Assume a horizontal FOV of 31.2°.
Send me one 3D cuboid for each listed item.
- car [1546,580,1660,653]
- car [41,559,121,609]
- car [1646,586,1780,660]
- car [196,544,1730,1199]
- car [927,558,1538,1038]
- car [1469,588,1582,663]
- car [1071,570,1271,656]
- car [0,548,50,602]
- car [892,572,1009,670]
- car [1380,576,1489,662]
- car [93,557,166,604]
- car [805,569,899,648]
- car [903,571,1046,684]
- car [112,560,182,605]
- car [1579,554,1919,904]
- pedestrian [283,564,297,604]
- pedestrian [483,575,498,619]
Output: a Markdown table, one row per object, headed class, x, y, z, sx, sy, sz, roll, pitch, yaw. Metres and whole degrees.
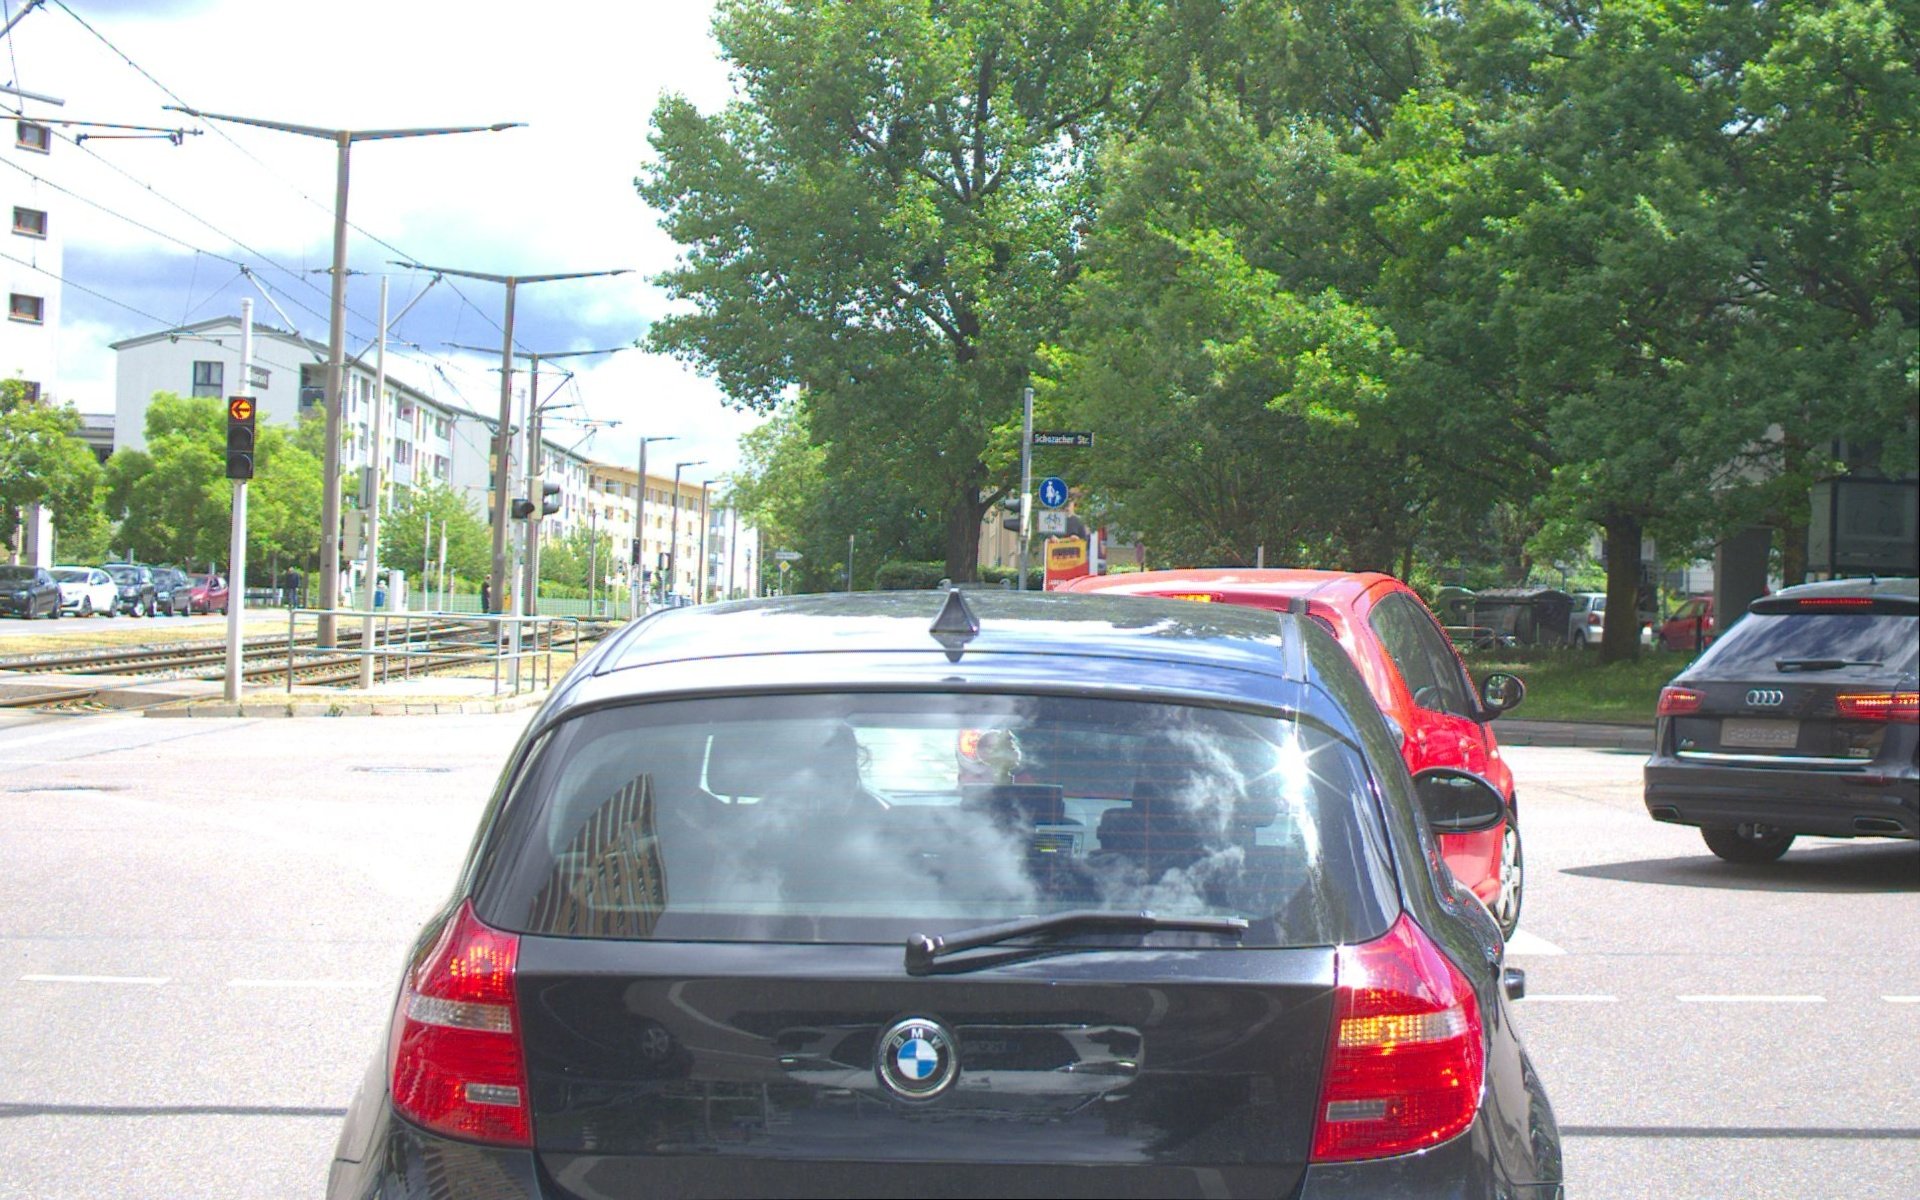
| class | x | y | z | sx | sy | sz | roll | pitch | yaw |
| --- | --- | --- | --- | --- | --- | --- | --- | --- | --- |
| car | 14.743 | 0.357 | 78.970 | 1.630 | 1.589 | 4.001 | 1 | 1 | -3 |
| car | -25.797 | -0.472 | 101.022 | 1.760 | 1.390 | 4.001 | 1 | 1 | -7 |
| car | 17.344 | 0.504 | 79.372 | 1.730 | 1.589 | 4.001 | 1 | 1 | -8 |
| car | -0.020 | 0.664 | 5.966 | 1.752 | 1.482 | 4.000 | 1 | 1 | 0 |
| car | 1.089 | 0.586 | 12.252 | 1.543 | 1.436 | 3.193 | 1 | 1 | 16 |
| car | 12.747 | 0.554 | 77.681 | 1.630 | 1.567 | 4.033 | 1 | 1 | -3 |
| car | 4.641 | 0.284 | 75.726 | 3.986 | 1.817 | 1.779 | 1 | 1 | -22 |
| car | -25.944 | -0.699 | 93.476 | 1.760 | 1.390 | 4.001 | 1 | 1 | -7 |
| car | -0.179 | 0.372 | 61.669 | 1.993 | 1.678 | 4.000 | 1 | 0 | 0 |
| car | 10.543 | 0.401 | 76.631 | 1.630 | 1.804 | 4.033 | 1 | 1 | -3 |
| car | -25.976 | -0.627 | 107.599 | 1.760 | 1.390 | 4.001 | 1 | 1 | -7 |
| car | -2.393 | 0.167 | 77.100 | 1.993 | 1.678 | 4.000 | 1 | 1 | 0 |
| car | 0.208 | 0.420 | 54.221 | 2.152 | 1.678 | 4.000 | 1 | 0 | 0 |
| car | -26.516 | -0.578 | 112.166 | 1.760 | 1.390 | 4.001 | 1 | 1 | -7 |
| car | 5.358 | 0.575 | 17.478 | 4.508 | 1.548 | 1.999 | 0 | 1 | -42 |
| pedestrian | -27.288 | -0.650 | 140.021 | 0.452 | 1.631 | 0.480 | 1 | 1 | -3 |
| pedestrian | -17.728 | -0.103 | 129.845 | 0.478 | 1.631 | 0.454 | 1 | 1 | -1 |
